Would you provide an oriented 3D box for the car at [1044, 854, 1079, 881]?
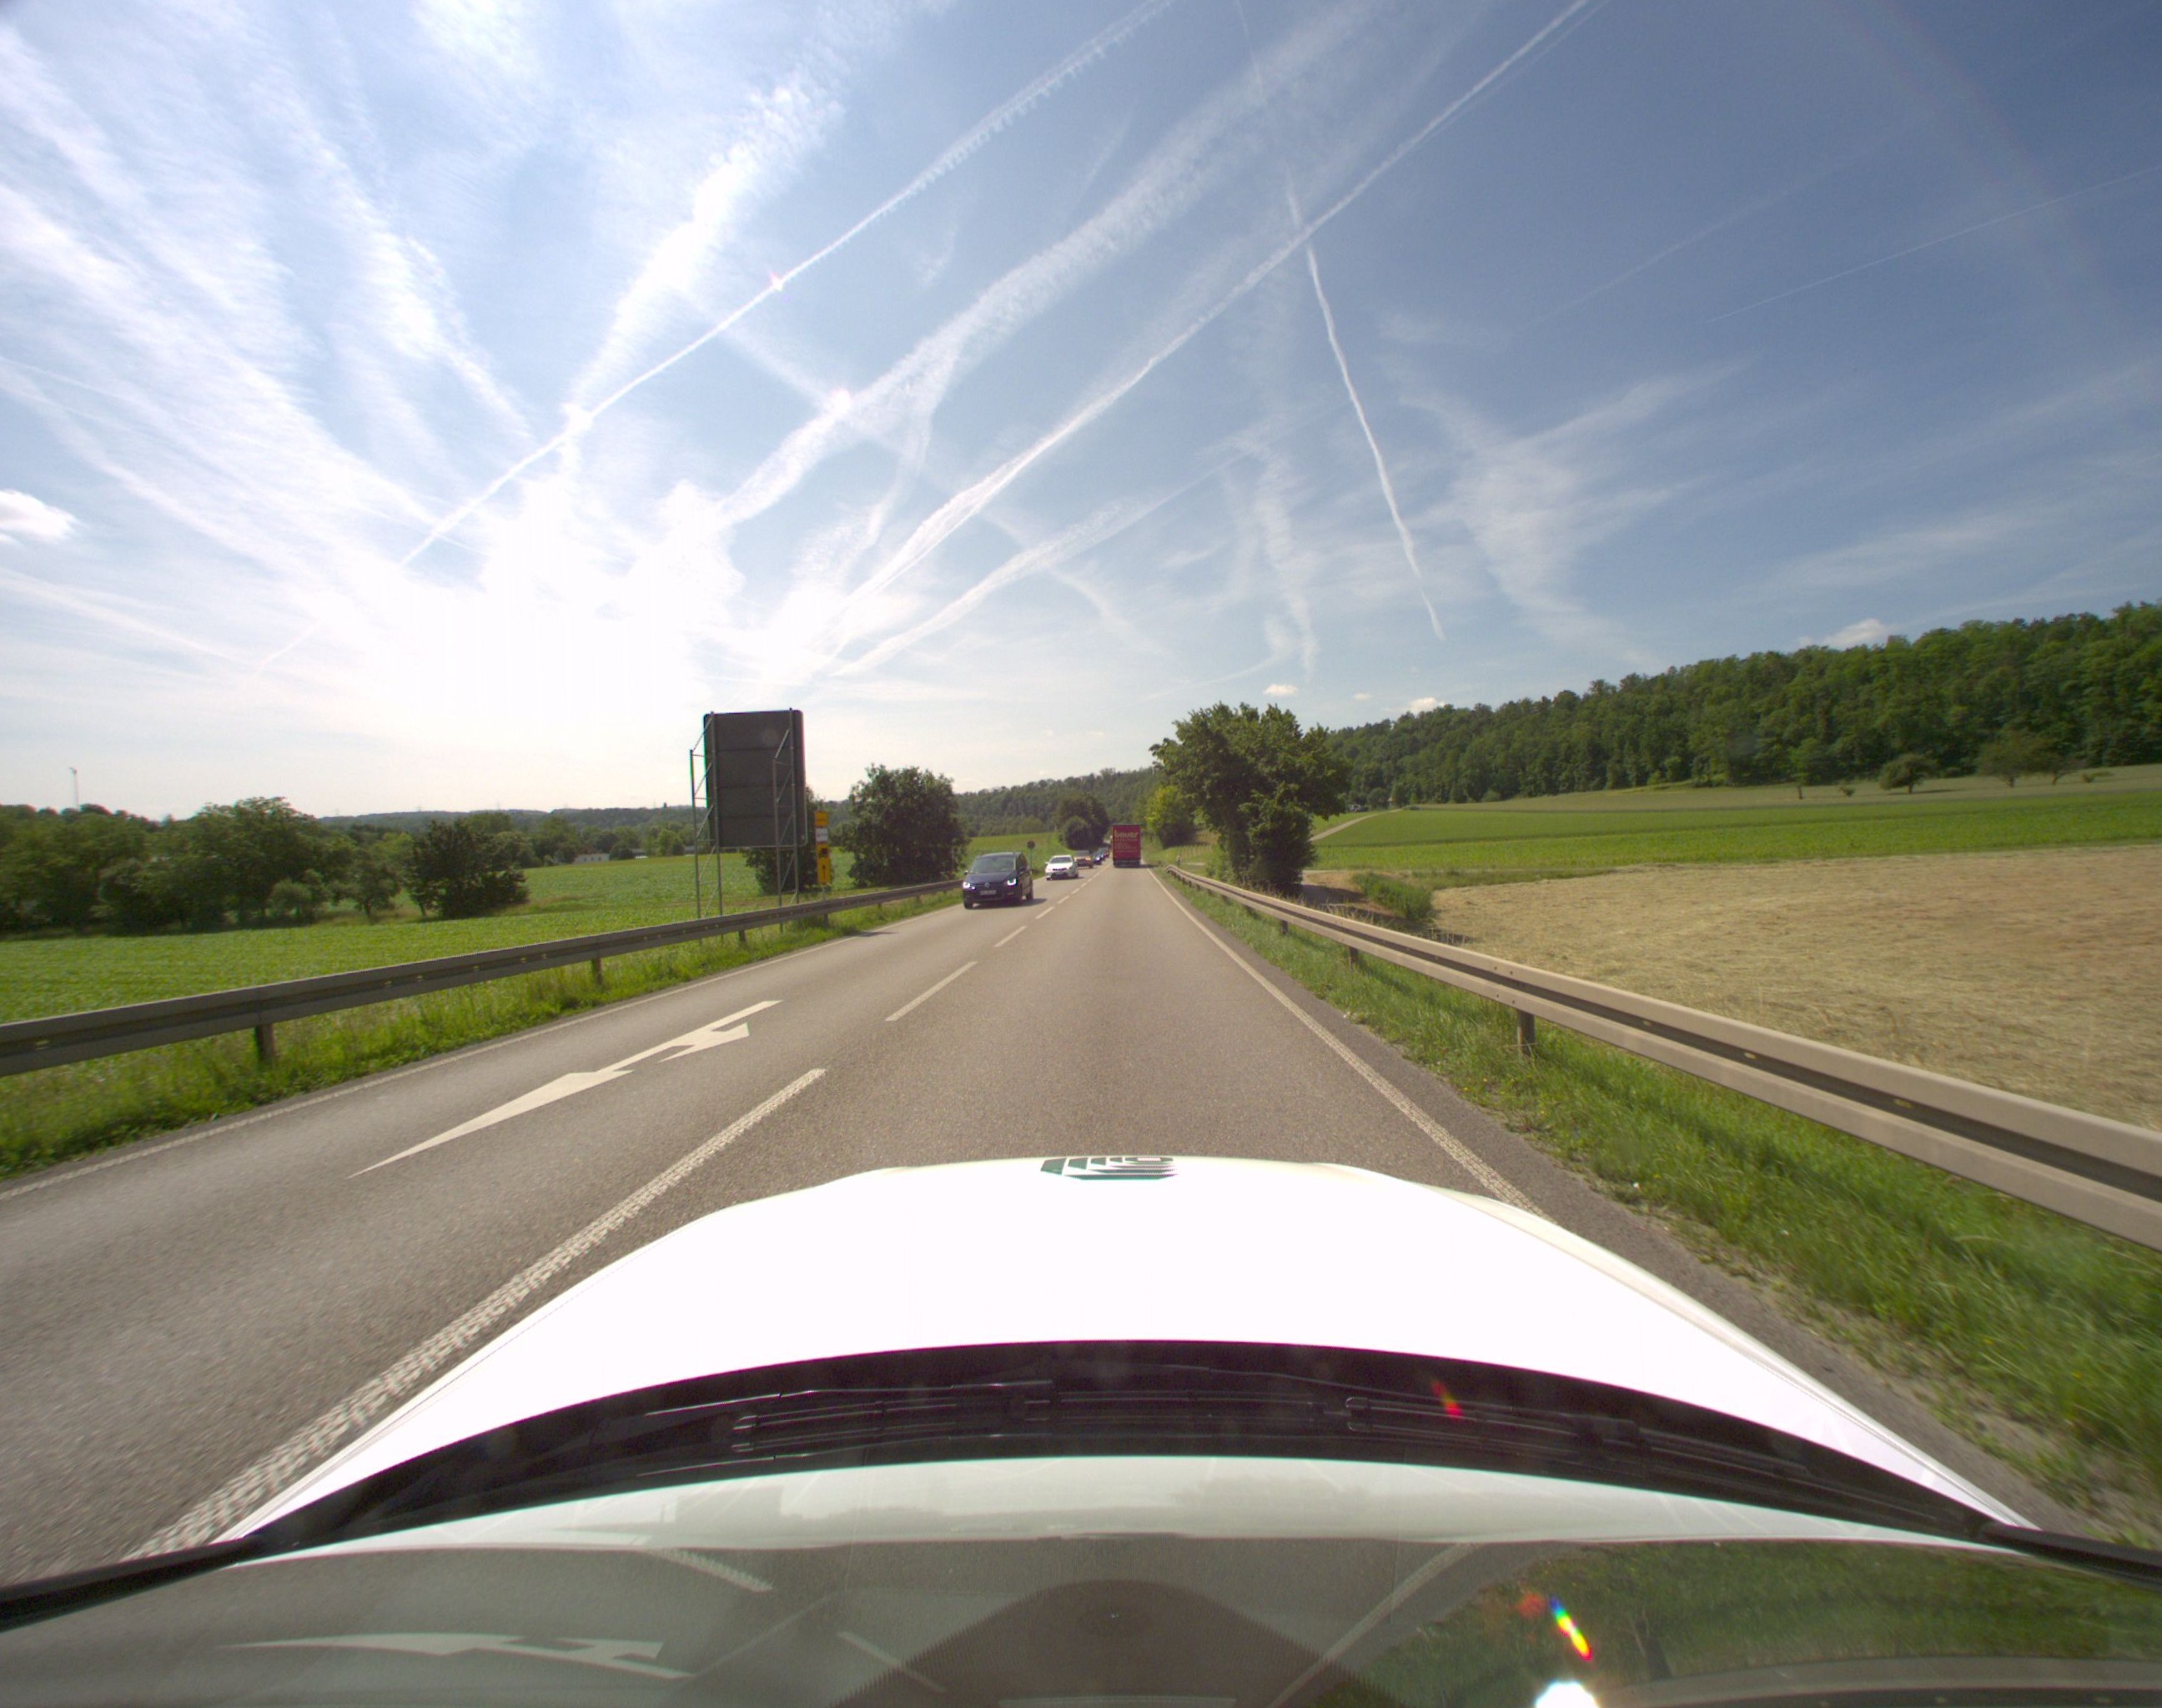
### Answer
[{"bbox_3d":[-1.129,0.790,49.822,1.723,1.434,3.919,-4,0,3],"label":"car"}]

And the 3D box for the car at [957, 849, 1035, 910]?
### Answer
[{"bbox_3d":[-2.695,0.764,26.774,1.821,1.722,4.366,-4,0,3],"label":"car"}]

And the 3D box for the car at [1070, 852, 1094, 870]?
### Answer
[{"bbox_3d":[0.137,0.597,74.708,1.905,1.474,3.877,-3,0,3],"label":"car"}]

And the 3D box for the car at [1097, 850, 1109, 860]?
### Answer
[{"bbox_3d":[3.590,0.209,132.024,1.800,1.486,4.003,-2,0,3],"label":"car"}]

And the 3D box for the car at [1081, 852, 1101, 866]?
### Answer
[{"bbox_3d":[1.112,0.546,88.148,1.985,1.342,4.004,-2,1,3],"label":"car"}]

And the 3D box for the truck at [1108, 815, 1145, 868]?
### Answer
[{"bbox_3d":[4.394,-1.165,79.045,3.159,4.625,13.555,-1,0,3],"label":"truck"}]
